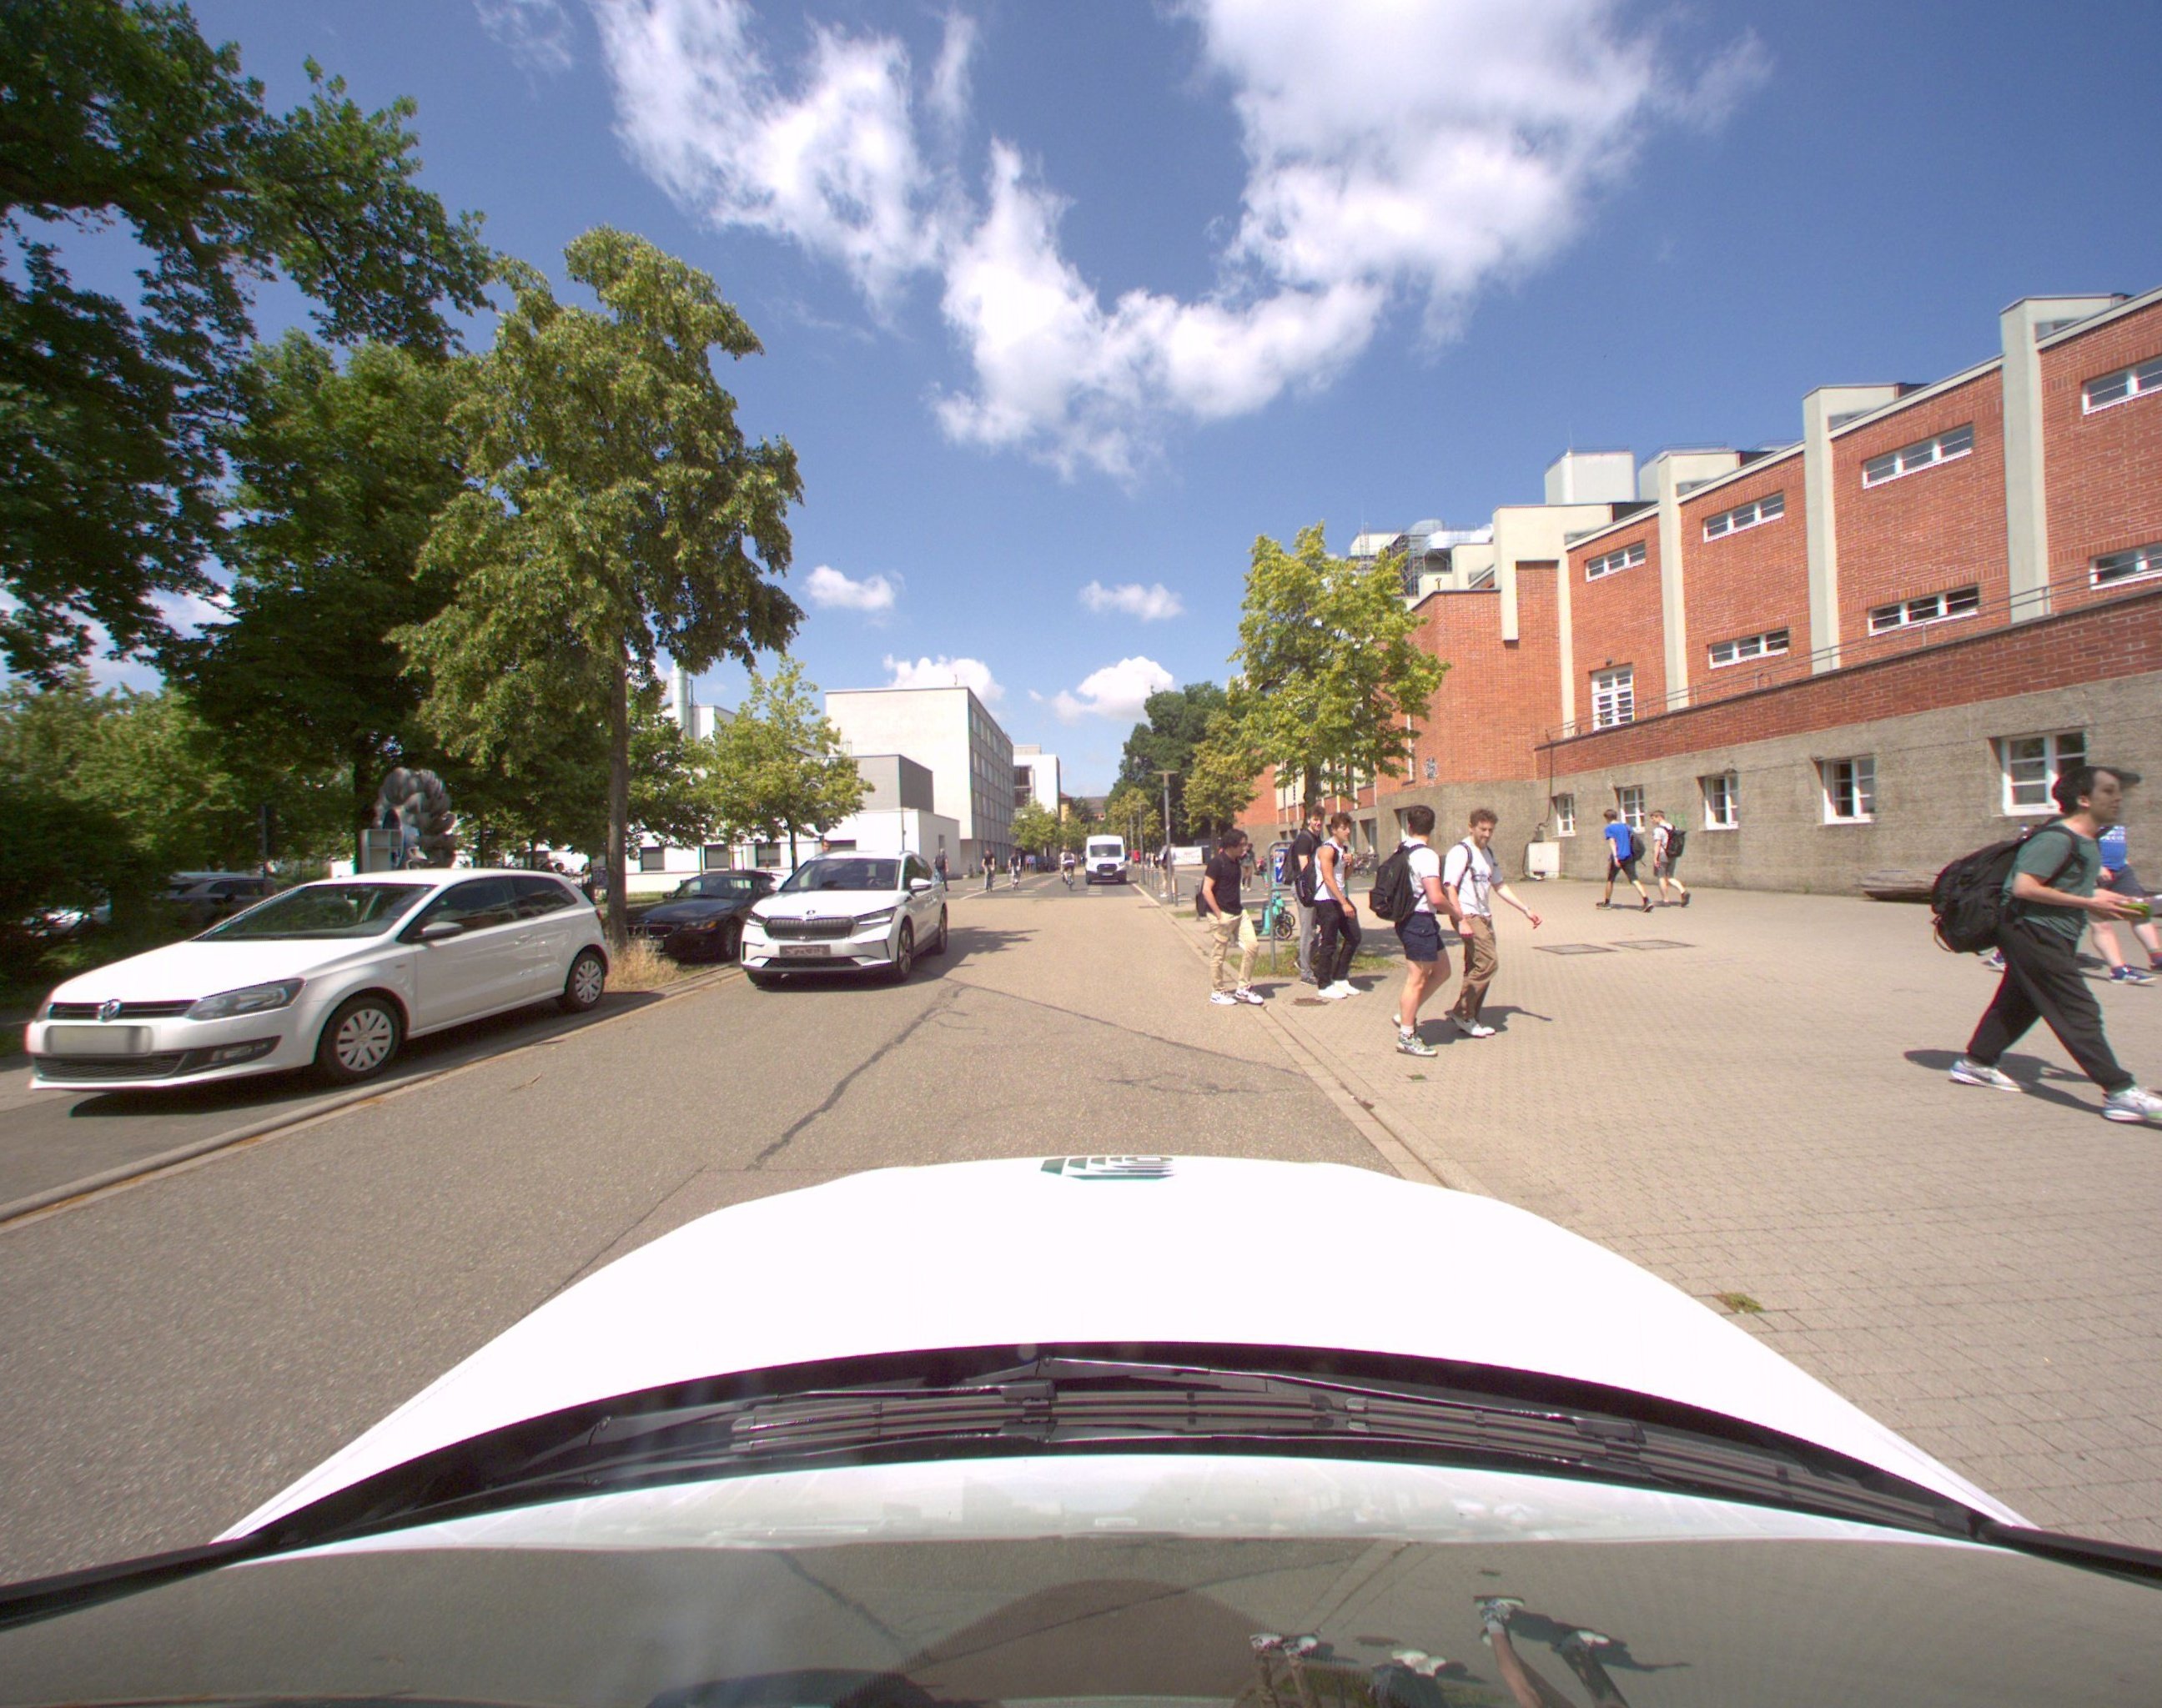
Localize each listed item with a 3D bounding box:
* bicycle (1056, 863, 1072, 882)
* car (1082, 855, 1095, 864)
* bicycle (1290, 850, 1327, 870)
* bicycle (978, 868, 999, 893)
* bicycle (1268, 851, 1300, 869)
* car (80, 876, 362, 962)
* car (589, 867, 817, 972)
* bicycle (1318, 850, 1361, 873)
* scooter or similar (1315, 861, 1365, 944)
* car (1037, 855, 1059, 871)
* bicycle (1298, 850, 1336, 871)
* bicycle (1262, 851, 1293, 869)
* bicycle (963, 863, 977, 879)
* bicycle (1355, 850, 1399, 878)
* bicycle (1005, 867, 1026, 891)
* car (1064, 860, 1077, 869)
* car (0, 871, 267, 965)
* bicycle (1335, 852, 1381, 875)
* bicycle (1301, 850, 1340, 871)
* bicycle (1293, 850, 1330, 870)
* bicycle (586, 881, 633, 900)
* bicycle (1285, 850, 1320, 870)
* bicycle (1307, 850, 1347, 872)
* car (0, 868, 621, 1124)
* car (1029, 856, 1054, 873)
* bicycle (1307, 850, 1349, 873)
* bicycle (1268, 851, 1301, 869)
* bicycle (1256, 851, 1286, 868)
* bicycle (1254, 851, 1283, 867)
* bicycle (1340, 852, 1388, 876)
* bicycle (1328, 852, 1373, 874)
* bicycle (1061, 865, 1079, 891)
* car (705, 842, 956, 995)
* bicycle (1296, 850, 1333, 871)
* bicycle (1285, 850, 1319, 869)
[{"bbox_3d":[-0.964,1.020,46.142,0.805,1.002,2.124,0,0,1],"label":"bicycle"},{"bbox_3d":[1.323,0.952,144.157,1.787,1.530,4.006,-3,0,5],"label":"car"},{"bbox_3d":[12.642,0.334,45.278,1.803,0.985,0.560,-4,0,0],"label":"bicycle"},{"bbox_3d":[-3.819,1.080,33.794,0.675,0.965,2.002,-1,0,-1],"label":"bicycle"},{"bbox_3d":[12.604,0.361,50.599,1.803,0.985,0.560,-4,0,0],"label":"bicycle"},{"bbox_3d":[-20.475,1.454,19.753,1.921,1.516,4.442,-5,1,1],"label":"car"},{"bbox_3d":[-5.810,0.925,13.094,1.638,1.300,3.930,-3,0,2],"label":"car"},{"bbox_3d":[12.283,0.355,38.703,1.803,0.985,0.560,-4,0,0],"label":"bicycle"},{"bbox_3d":[3.948,0.719,12.459,0.643,1.160,1.270,-3,0,17],"label":"scooter or similar"},{"bbox_3d":[-3.446,0.914,85.820,1.787,1.530,4.006,-3,0,5],"label":"car"},{"bbox_3d":[12.575,0.346,43.454,1.803,0.985,0.560,-4,0,0],"label":"bicycle"},{"bbox_3d":[12.361,0.362,51.305,1.803,0.985,0.560,-4,0,0],"label":"bicycle"},{"bbox_3d":[-7.669,1.168,56.142,0.520,0.985,1.635,-4,0,6],"label":"bicycle"},{"bbox_3d":[11.931,0.386,32.861,1.530,1.033,0.560,-3,0,0],"label":"bicycle"},{"bbox_3d":[-2.857,1.083,35.634,0.674,0.965,2.004,-1,0,2],"label":"bicycle"},{"bbox_3d":[-1.796,1.870,144.488,1.787,1.530,4.006,-3,0,5],"label":"car"},{"bbox_3d":[-23.122,1.461,19.845,1.921,1.768,4.442,-5,1,1],"label":"car"},{"bbox_3d":[12.061,0.407,35.499,1.803,0.912,0.560,-4,0,0],"label":"bicycle"},{"bbox_3d":[12.597,0.349,42.851,1.803,0.985,0.560,-4,0,0],"label":"bicycle"},{"bbox_3d":[12.634,0.341,44.682,1.803,0.985,0.560,-4,0,0],"label":"bicycle"},{"bbox_3d":[-25.868,1.996,44.659,2.108,1.002,0.812,-1,-1,3],"label":"bicycle"},{"bbox_3d":[12.647,0.331,46.515,1.803,0.985,0.560,-4,0,0],"label":"bicycle"},{"bbox_3d":[12.273,0.344,40.664,1.803,0.985,0.560,-4,0,0],"label":"bicycle"},{"bbox_3d":[-5.708,0.864,6.659,1.656,1.412,3.808,-1,0,1],"label":"car"},{"bbox_3d":[-3.773,1.022,78.408,1.787,1.530,4.006,-3,0,5],"label":"car"},{"bbox_3d":[12.131,0.355,40.030,1.803,0.985,0.560,-4,0,0],"label":"bicycle"},{"bbox_3d":[12.432,0.353,49.769,1.803,0.985,0.560,-4,0,0],"label":"bicycle"},{"bbox_3d":[12.482,0.353,53.641,1.803,0.985,0.560,-4,0,0],"label":"bicycle"},{"bbox_3d":[12.576,0.345,54.604,1.803,0.985,0.560,-4,0,0],"label":"bicycle"},{"bbox_3d":[12.059,0.409,34.679,1.803,0.912,0.560,-4,0,0],"label":"bicycle"},{"bbox_3d":[12.224,0.403,36.939,1.803,0.912,0.560,-4,0,0],"label":"bicycle"},{"bbox_3d":[-0.483,0.989,34.038,0.705,0.993,1.909,-2,-1,-2],"label":"bicycle"},{"bbox_3d":[-3.029,0.738,10.993,1.911,1.619,4.520,1,-1,0],"label":"car"},{"bbox_3d":[12.604,0.341,44.041,1.803,0.985,0.560,-4,0,0],"label":"bicycle"},{"bbox_3d":[12.804,0.323,47.228,1.803,0.985,0.560,-4,0,0],"label":"bicycle"}]
